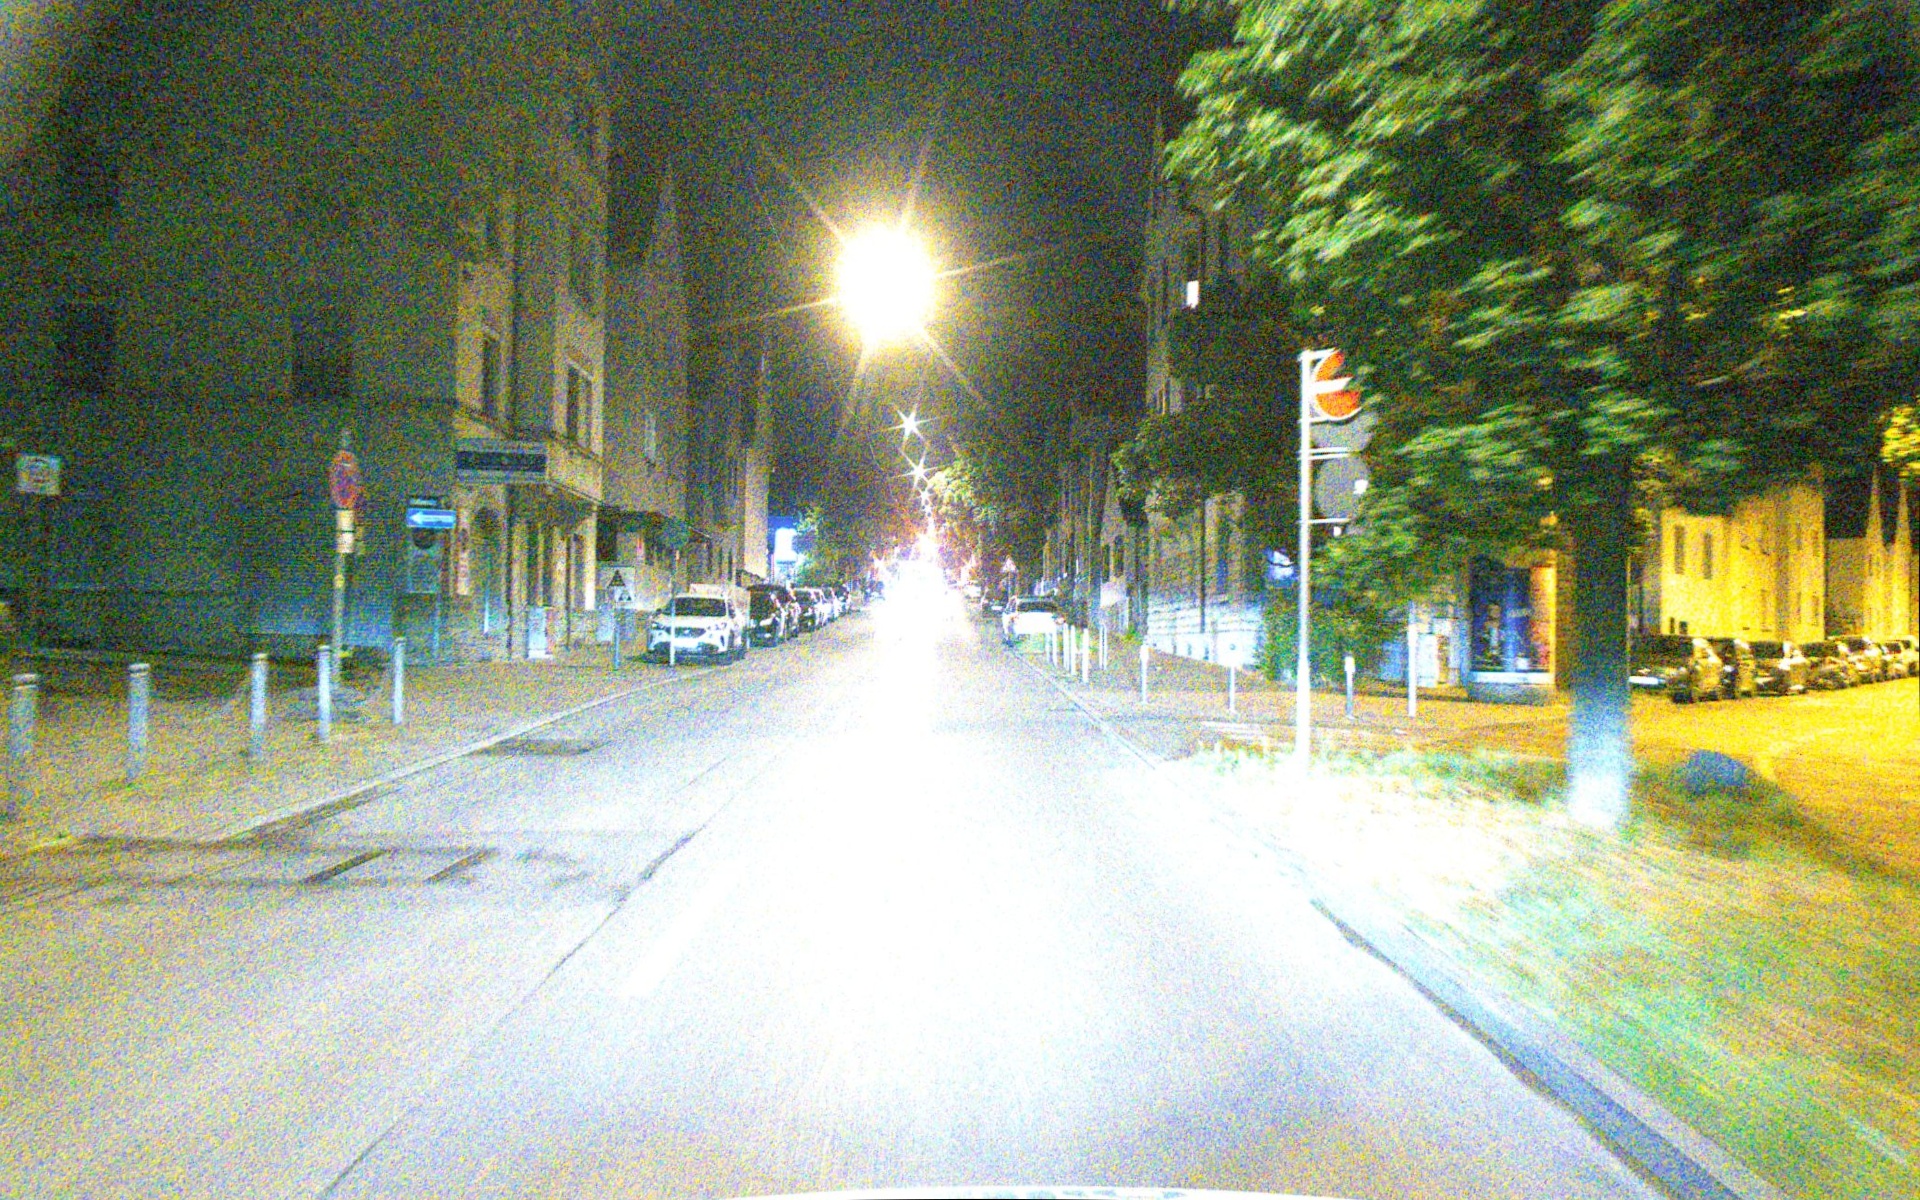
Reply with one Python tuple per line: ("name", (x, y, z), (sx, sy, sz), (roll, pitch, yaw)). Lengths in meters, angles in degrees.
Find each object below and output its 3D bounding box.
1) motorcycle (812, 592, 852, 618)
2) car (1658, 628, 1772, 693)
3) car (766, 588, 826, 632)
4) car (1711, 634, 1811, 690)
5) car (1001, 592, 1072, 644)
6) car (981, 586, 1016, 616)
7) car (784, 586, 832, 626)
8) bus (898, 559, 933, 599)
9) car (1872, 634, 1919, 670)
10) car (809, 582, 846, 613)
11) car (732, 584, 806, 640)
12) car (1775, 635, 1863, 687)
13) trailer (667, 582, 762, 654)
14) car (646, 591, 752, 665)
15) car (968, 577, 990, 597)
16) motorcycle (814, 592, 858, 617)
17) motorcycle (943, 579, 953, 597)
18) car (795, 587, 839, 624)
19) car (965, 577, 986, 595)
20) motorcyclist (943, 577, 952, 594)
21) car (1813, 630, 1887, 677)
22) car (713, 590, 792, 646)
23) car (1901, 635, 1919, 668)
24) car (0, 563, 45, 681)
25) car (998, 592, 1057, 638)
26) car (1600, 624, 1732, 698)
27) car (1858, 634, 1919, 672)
("motorcycle", (-6.001, 0.237, 77.618), (0.710, 1.167, 2.174), (-1, 1, -43))
("car", (18.387, 1.445, 40.193), (1.767, 1.442, 3.822), (2, 0, 36))
("car", (-5.995, 0.344, 60.812), (1.826, 1.517, 4.279), (2, 0, -2))
("car", (21.575, 1.635, 44.475), (1.740, 1.364, 3.903), (2, 0, 36))
("car", (2.275, 0.513, 50.300), (1.808, 1.442, 4.644), (-2, 0, -1))
("car", (2.031, 0.024, 88.740), (1.727, 1.501, 4.080), (-1, 1, 0))
("car", (-6.001, 0.238, 65.634), (1.589, 1.517, 3.779), (2, 0, -2))
("bus", (-3.797, -1.832, 142.784), (2.780, 3.232, 10.498), (2, 1, -1))
("car", (41.415, 2.263, 72.549), (1.742, 1.466, 3.899), (2, 0, 39))
("car", (-6.807, -0.137, 85.061), (1.605, 1.524, 2.765), (1, 0, 1))
("car", (-6.026, 0.335, 52.495), (1.797, 1.647, 4.544), (2, 1, 0))
("car", (25.977, 1.807, 49.961), (1.740, 1.442, 3.903), (2, 0, 36))
("trailer", (-6.073, 0.440, 41.295), (1.603, 1.668, 3.441), (2, 0, 4))
("car", (-5.737, 0.573, 36.795), (1.778, 1.510, 4.346), (1, 0, -2))
("car", (1.576, -1.092, 137.412), (1.775, 1.621, 4.273), (-1, 1, -1))
("motorcycle", (-5.971, 0.212, 79.637), (2.162, 1.150, 0.714), (1, 1, 33))
("motorcycle", (-1.238, -1.219, 167.000), (0.912, 1.782, 2.624), (2, 0, 0))
("car", (-6.297, 0.211, 73.365), (1.669, 1.517, 4.227), (-1, 1, -2))
("car", (1.378, -1.263, 150.899), (1.830, 1.553, 4.149), (-1, 1, -1))
("motorcyclist", (-1.234, -1.460, 167.005), (0.831, 1.782, 0.805), (2, 0, -1))
("car", (31.499, 1.873, 58.478), (1.740, 1.527, 3.903), (2, 0, 36))
("car", (-5.886, 0.473, 47.327), (1.798, 1.472, 4.543), (1, 1, -2))
("car", (44.651, 2.362, 76.067), (1.742, 1.466, 3.899), (2, 0, 39))
("car", (-13.864, 0.160, 20.702), (3.902, 1.449, 1.763), (4, 0, 9))
("car", (2.245, 0.472, 55.910), (1.735, 1.473, 4.018), (0, 0, -1))
("car", (15.144, 1.274, 35.377), (1.767, 1.442, 3.822), (2, 0, 36))
("car", (38.406, 2.172, 68.370), (1.740, 1.466, 3.903), (2, 0, 36))
